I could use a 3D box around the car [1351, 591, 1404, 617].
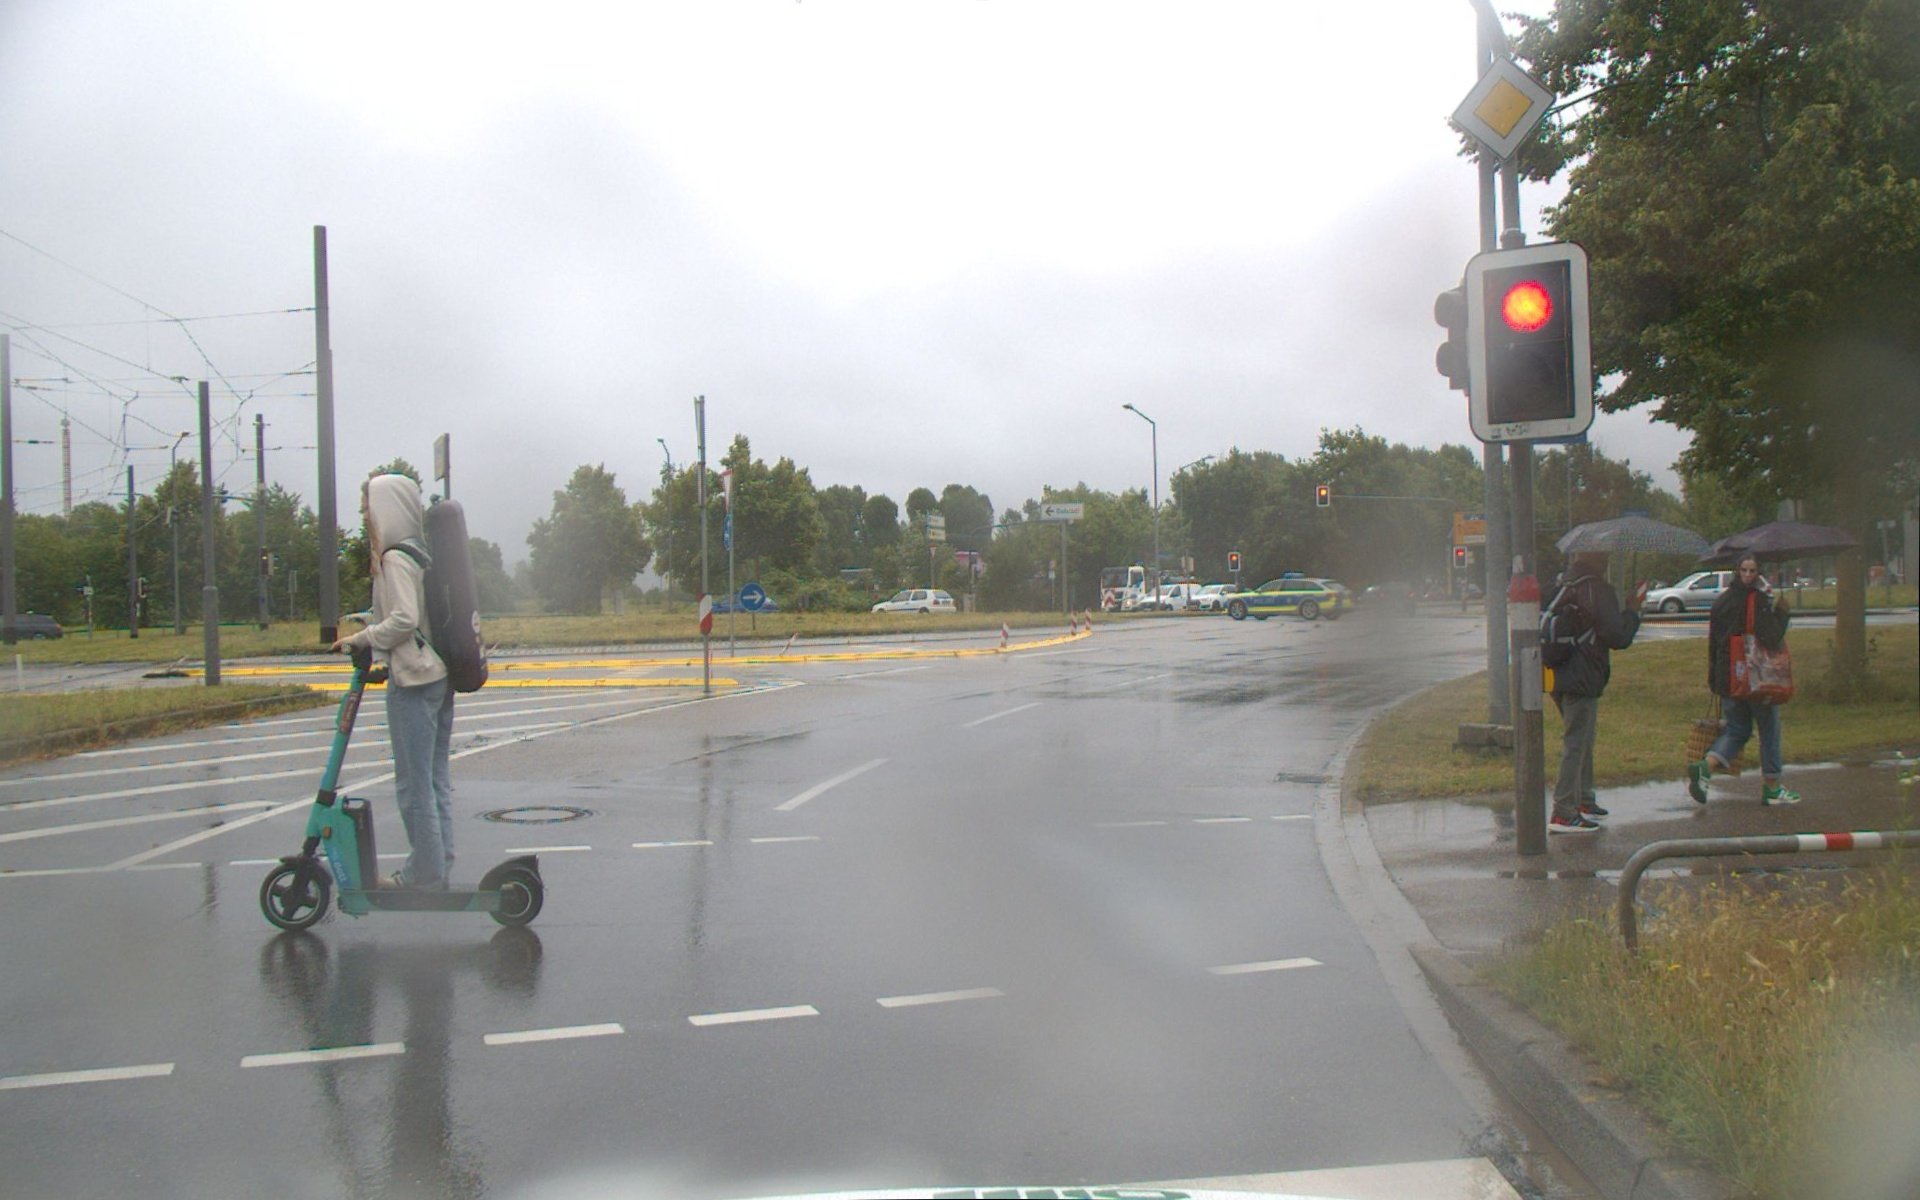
[{"bbox_3d":[28.348,0.279,112.118,1.769,1.691,4.386,0,-1,40],"label":"car"}]

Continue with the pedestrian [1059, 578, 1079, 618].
[{"bbox_3d":[3.613,-0.072,54.847,0.445,1.327,0.484,-1,0,38],"label":"pedestrian"}]

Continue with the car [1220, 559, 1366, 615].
[{"bbox_3d":[11.827,-0.442,58.866,4.684,1.883,1.991,-1,0,38],"label":"car"}]

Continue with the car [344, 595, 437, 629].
[{"bbox_3d":[-26.680,0.551,77.445,4.042,1.479,1.613,-1,0,-22],"label":"car"}]

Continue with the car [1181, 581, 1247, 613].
[{"bbox_3d":[14.656,-0.168,95.218,1.769,1.691,4.386,0,-1,40],"label":"car"}]

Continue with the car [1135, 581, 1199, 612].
[{"bbox_3d":[12.157,-0.200,96.800,1.769,1.691,4.112,0,-1,40],"label":"car"}]

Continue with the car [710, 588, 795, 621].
[{"bbox_3d":[-9.823,0.226,78.166,3.908,1.479,1.617,-1,0,36],"label":"car"}]

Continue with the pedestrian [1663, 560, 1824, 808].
[{"bbox_3d":[4.921,0.515,10.408,0.667,1.486,0.573,-2,-1,-5],"label":"pedestrian"}]

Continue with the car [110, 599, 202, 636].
[{"bbox_3d":[-41.050,0.913,84.542,1.644,1.848,3.994,1,-1,28],"label":"car"}]

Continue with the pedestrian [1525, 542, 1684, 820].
[{"bbox_3d":[3.739,0.453,9.635,0.608,1.549,0.741,1,0,-2],"label":"pedestrian"}]

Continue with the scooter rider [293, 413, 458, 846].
[{"bbox_3d":[-2.437,0.116,6.928,0.521,1.739,0.433,-2,0,-7],"label":"scooter rider"}]

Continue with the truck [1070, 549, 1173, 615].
[{"bbox_3d":[7.387,-0.759,74.541,2.411,2.733,8.058,1,-1,22],"label":"truck"}]

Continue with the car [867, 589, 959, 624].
[{"bbox_3d":[-2.110,0.303,73.335,3.907,1.479,1.617,-1,0,36],"label":"car"}]

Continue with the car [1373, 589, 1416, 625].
[{"bbox_3d":[18.813,0.296,71.726,1.583,1.479,3.991,-1,0,11],"label":"car"}]

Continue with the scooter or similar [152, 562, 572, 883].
[{"bbox_3d":[-2.460,0.506,6.918,1.555,1.281,0.447,1,-1,-7],"label":"scooter or similar"}]

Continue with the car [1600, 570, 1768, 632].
[{"bbox_3d":[23.351,0.048,53.523,4.658,1.884,2.002,1,-1,11],"label":"car"}]
